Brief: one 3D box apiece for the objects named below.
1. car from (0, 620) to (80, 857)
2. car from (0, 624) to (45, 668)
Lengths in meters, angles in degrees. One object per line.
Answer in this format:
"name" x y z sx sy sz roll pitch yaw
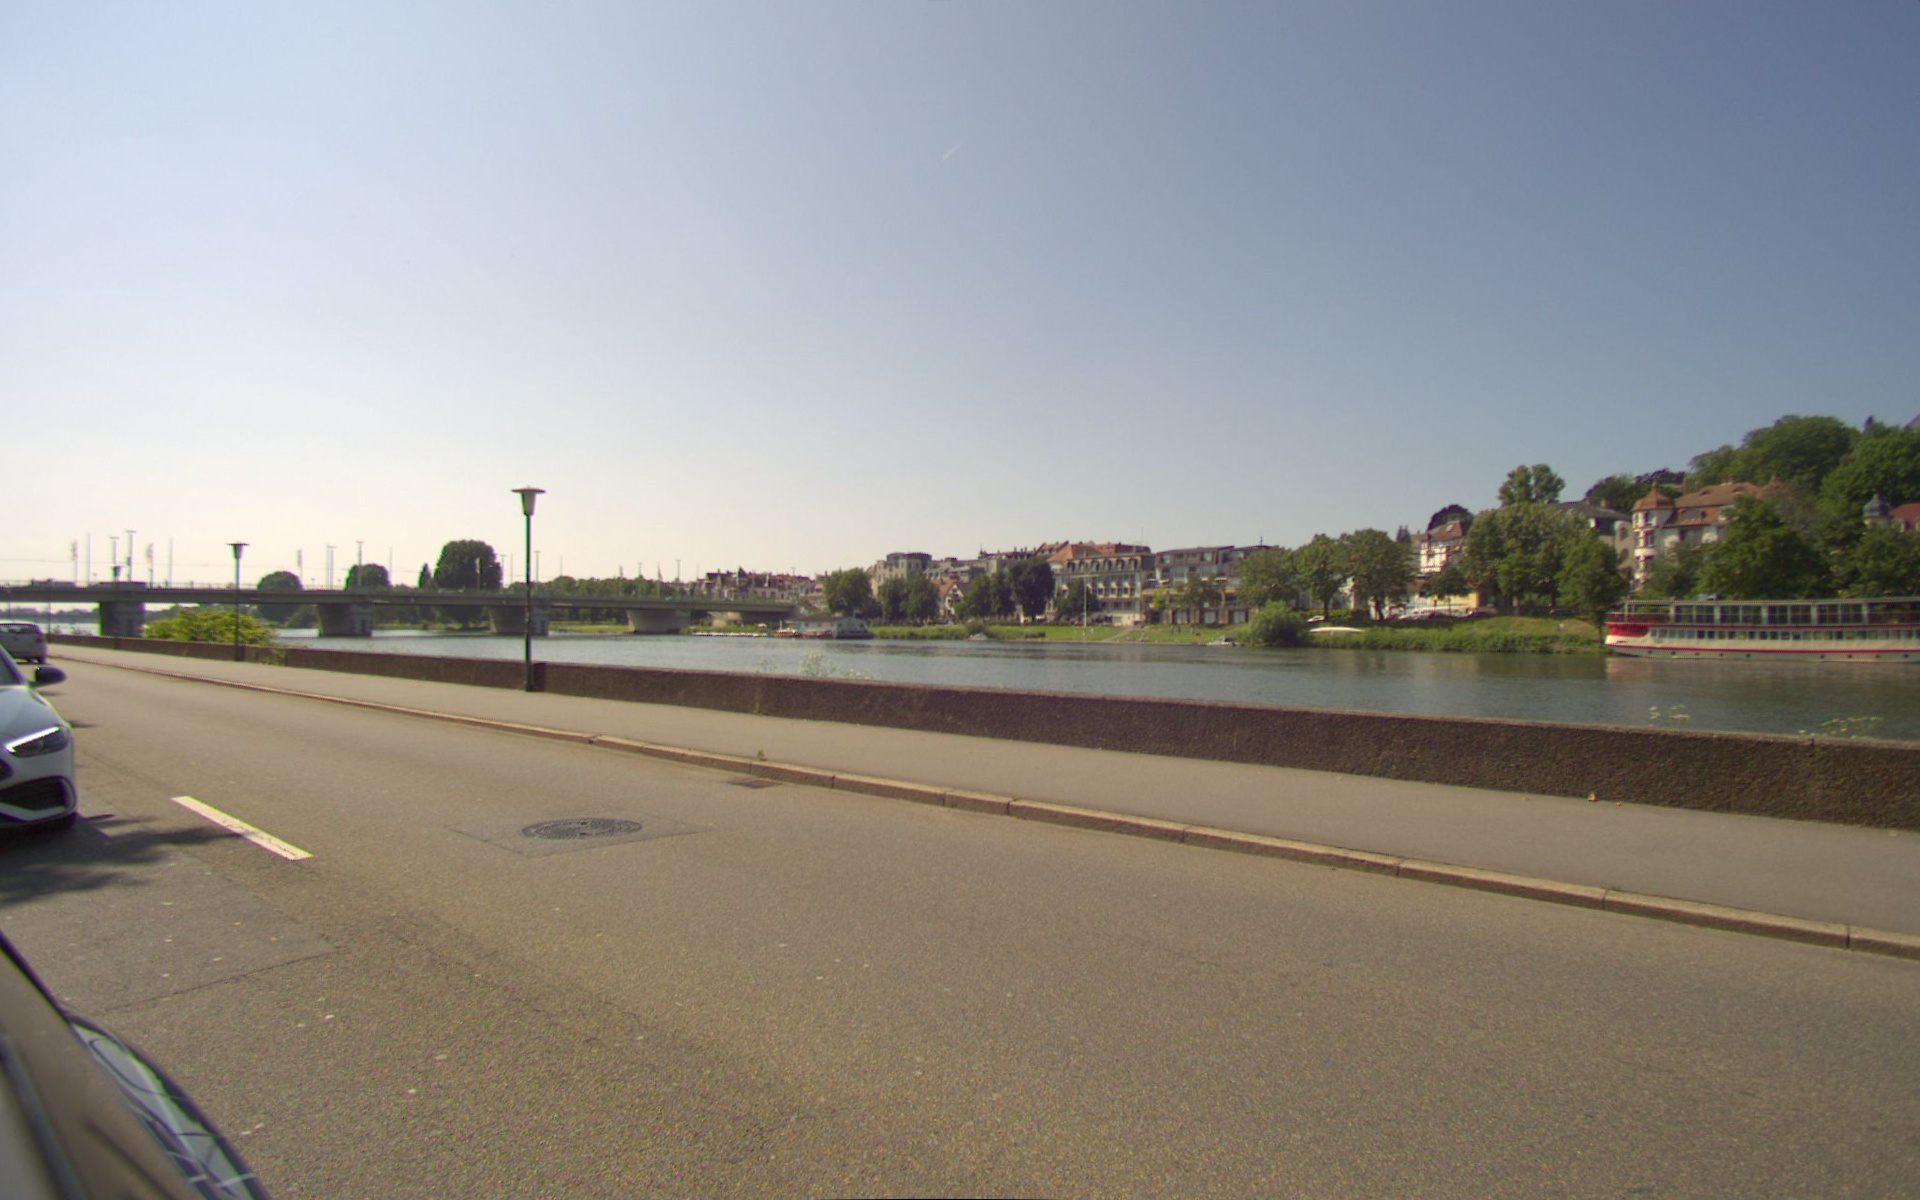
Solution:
"car" -7.878 0.887 7.268 4.551 1.430 1.806 -1 -1 42
"car" -33.003 1.547 34.831 4.043 1.453 1.713 -1 -3 41
